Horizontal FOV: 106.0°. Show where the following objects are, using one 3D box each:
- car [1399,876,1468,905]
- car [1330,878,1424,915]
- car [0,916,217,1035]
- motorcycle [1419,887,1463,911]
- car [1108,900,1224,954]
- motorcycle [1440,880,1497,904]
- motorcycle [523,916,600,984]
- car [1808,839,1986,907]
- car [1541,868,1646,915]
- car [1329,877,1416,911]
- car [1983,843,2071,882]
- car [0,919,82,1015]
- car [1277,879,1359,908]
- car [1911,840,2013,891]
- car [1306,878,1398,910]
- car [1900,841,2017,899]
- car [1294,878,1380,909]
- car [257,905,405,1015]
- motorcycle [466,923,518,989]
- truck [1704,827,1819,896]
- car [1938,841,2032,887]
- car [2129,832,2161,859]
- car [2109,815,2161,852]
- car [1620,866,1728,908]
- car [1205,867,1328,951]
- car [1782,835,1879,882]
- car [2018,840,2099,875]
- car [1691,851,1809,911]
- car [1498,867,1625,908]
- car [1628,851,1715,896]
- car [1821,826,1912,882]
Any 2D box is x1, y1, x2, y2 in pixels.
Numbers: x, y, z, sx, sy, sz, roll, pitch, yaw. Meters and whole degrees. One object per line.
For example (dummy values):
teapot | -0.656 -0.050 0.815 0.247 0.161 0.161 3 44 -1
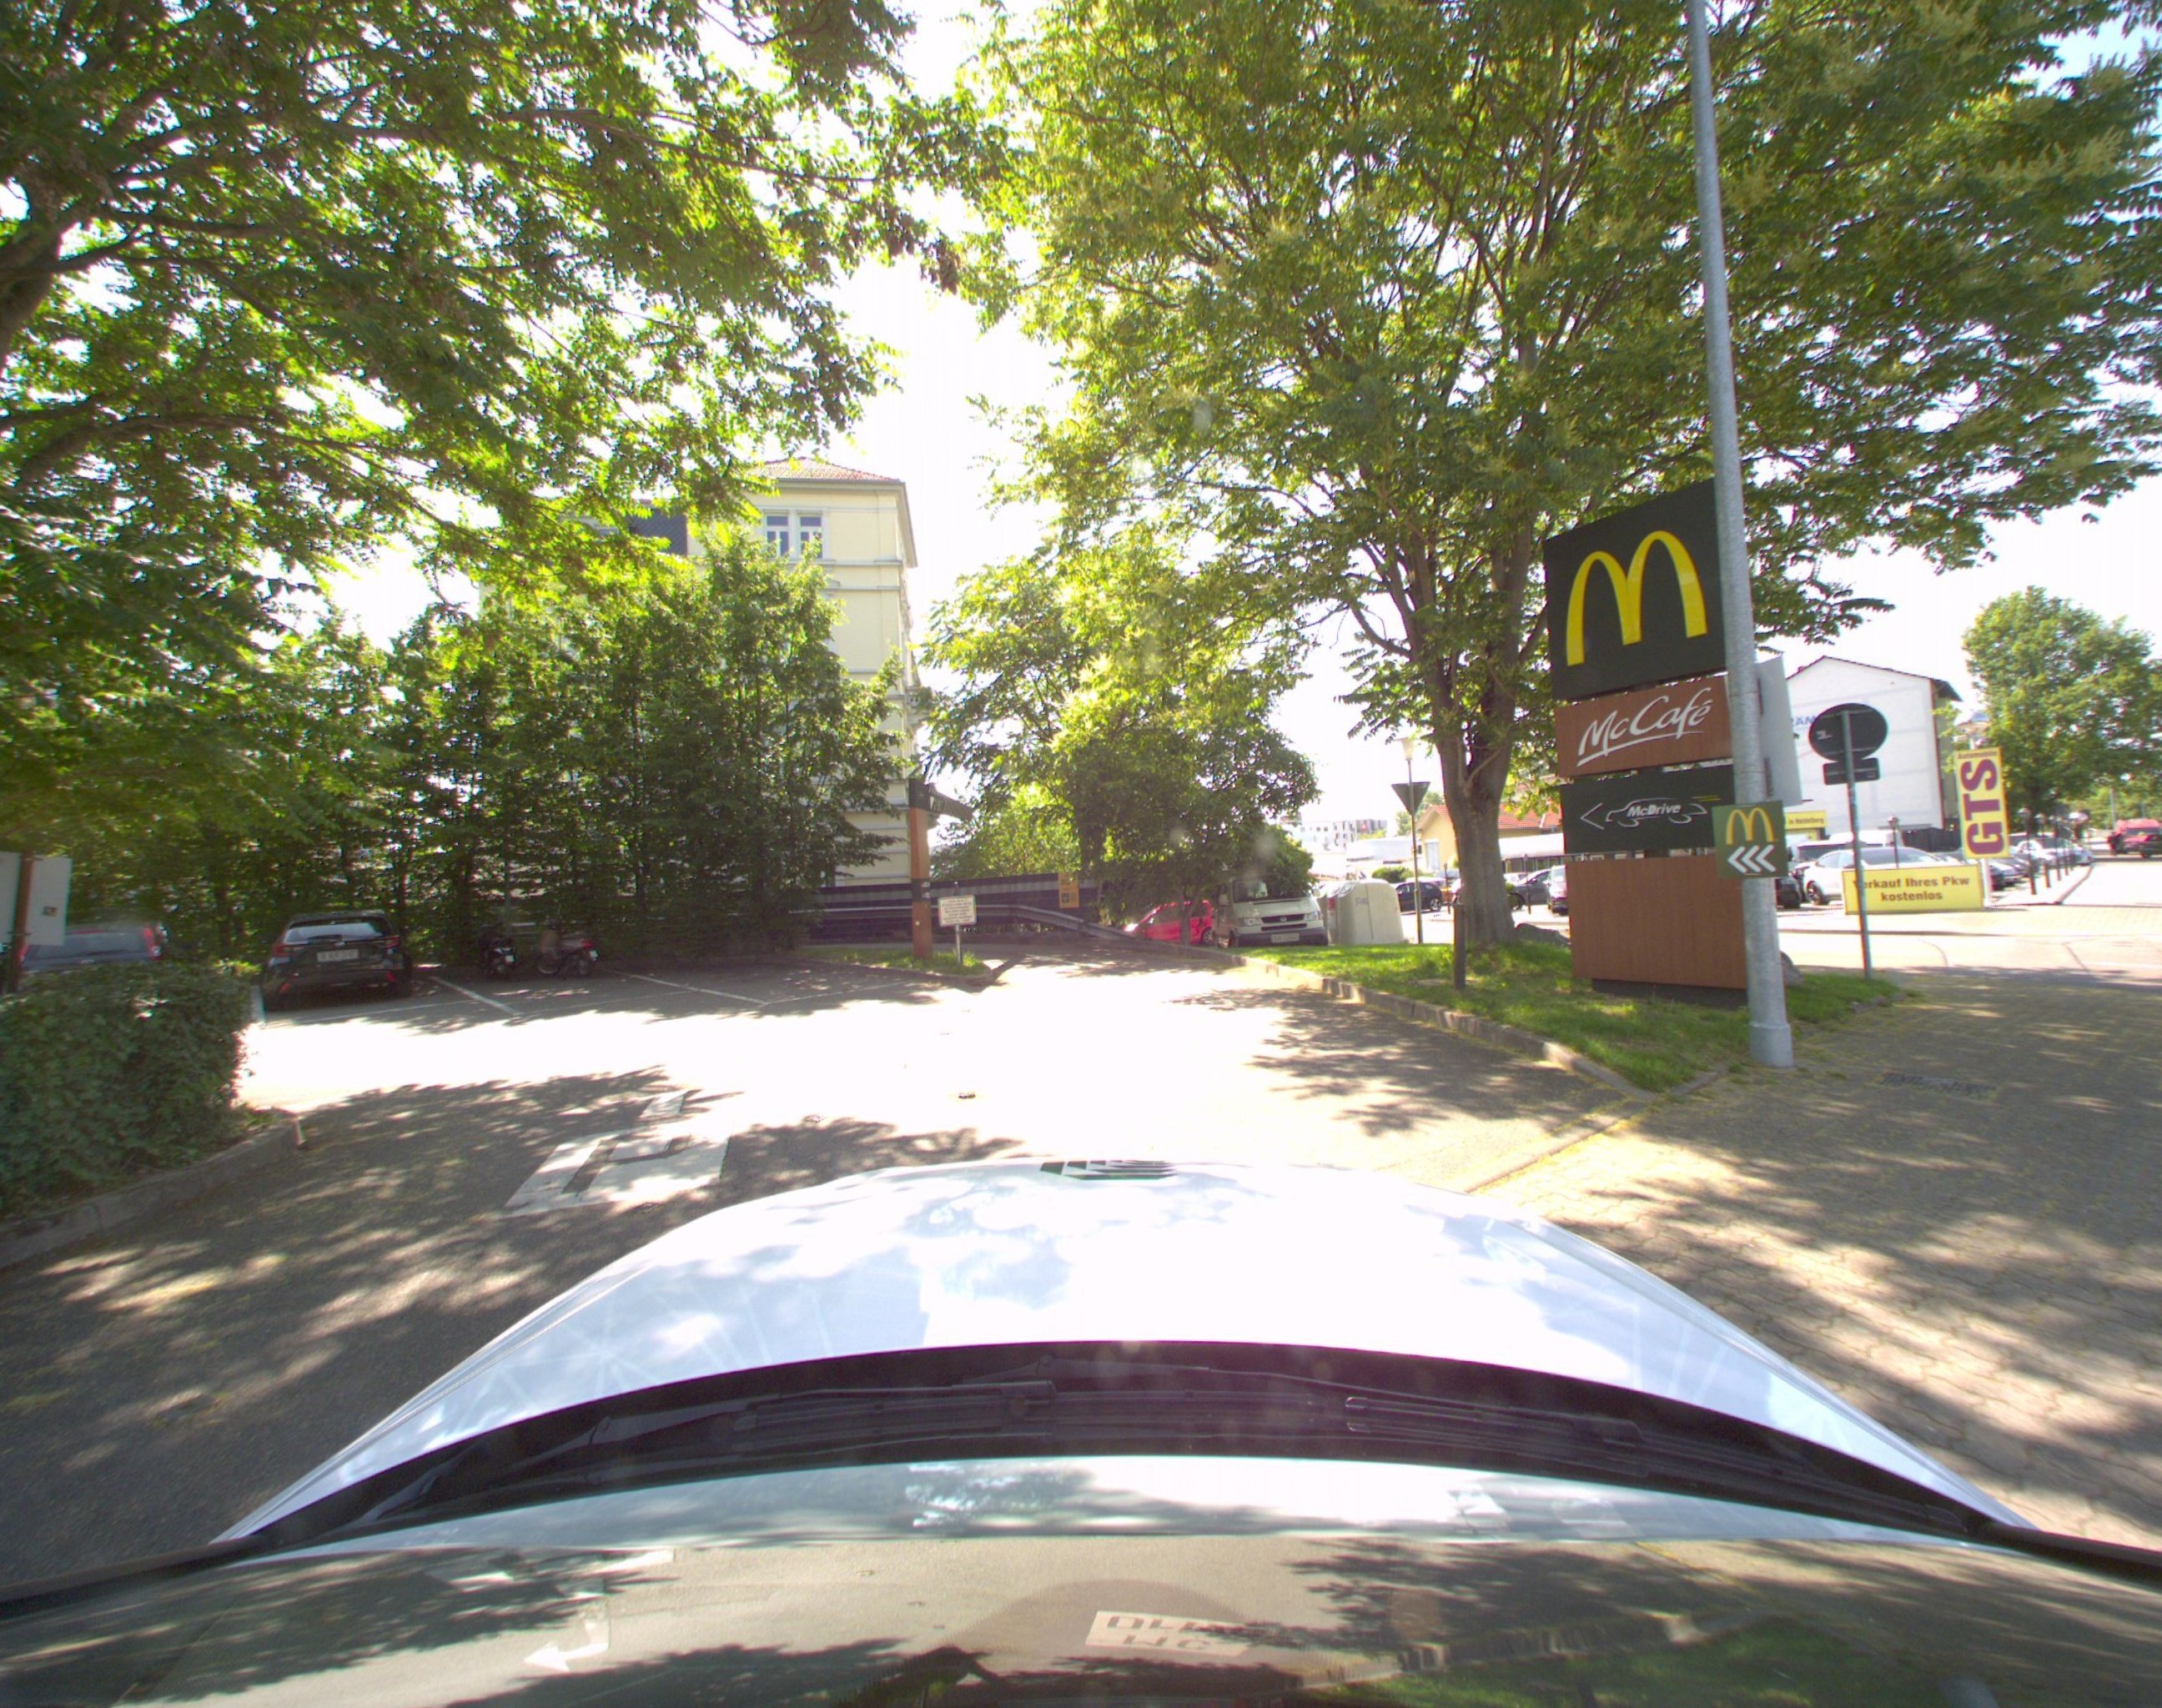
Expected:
car | 20.460 2.115 47.395 1.990 1.585 3.992 -1 -2 -5
car | 15.021 2.149 41.379 3.984 1.706 1.994 -1 -2 -8
car | -15.818 1.853 13.434 1.714 1.453 3.952 -2 -1 -41
motorcycle | 18.109 2.251 41.009 1.859 1.159 0.791 -2 -2 5
car | 2.646 2.266 25.738 3.399 1.379 1.483 -3 -1 -6
motorcycle | 20.669 2.027 43.479 2.714 1.227 0.994 -1 -3 -15
motorcycle | -9.717 1.784 15.205 1.584 1.169 0.574 -4 -2 33
car | 22.912 0.565 23.117 1.977 1.726 4.019 -3 -2 20
car | 18.015 1.290 28.565 4.018 1.510 1.773 0 -3 -37
car | 15.939 2.202 44.600 3.993 1.726 1.990 -1 -3 -15
car | 43.187 0.376 37.280 1.838 1.629 4.025 -4 -3 39
car | -19.794 2.018 14.448 1.783 1.470 3.953 -2 0 -39
car | 15.110 2.515 51.946 4.646 1.726 1.990 -1 -3 -14
car | 31.510 0.406 29.241 1.838 1.629 4.025 -4 -3 39
car | 15.564 2.302 46.887 4.646 1.726 1.990 -1 -3 -14
car | 27.192 0.498 25.379 1.838 1.629 4.025 -4 -3 39
car | 15.553 2.408 49.571 4.646 1.726 1.990 -1 -3 -14
car | -12.977 1.709 14.102 1.670 1.470 3.856 -2 -1 -44
motorcycle | -11.116 1.898 15.360 1.585 1.141 0.477 -4 -2 43
truck | 30.501 0.316 36.448 5.966 2.904 2.252 -1 -2 -34
car | 36.042 0.403 32.578 1.838 1.629 4.025 -4 -3 39
car | 69.096 -0.592 51.389 3.248 1.637 1.732 -2 -2 13
car | 79.391 -1.504 61.078 5.140 2.520 2.518 0 -3 -36
car | 23.051 1.259 31.646 4.010 1.487 1.777 0 -3 -28
car | 3.993 1.134 18.364 1.943 1.583 5.037 -2 -1 4
car | 30.048 0.178 32.609 4.742 1.738 1.863 -1 -2 -35
car | 50.066 0.175 41.817 1.838 1.629 4.025 -4 -3 39
car | 19.934 0.815 24.482 2.027 1.595 4.451 -3 -3 31
car | 20.492 1.430 34.958 4.287 1.585 2.008 -2 -2 16
car | 28.133 0.904 38.761 4.515 2.014 1.978 0 -3 -36
car | 34.946 0.007 36.194 4.733 2.285 2.118 -1 -3 -38
